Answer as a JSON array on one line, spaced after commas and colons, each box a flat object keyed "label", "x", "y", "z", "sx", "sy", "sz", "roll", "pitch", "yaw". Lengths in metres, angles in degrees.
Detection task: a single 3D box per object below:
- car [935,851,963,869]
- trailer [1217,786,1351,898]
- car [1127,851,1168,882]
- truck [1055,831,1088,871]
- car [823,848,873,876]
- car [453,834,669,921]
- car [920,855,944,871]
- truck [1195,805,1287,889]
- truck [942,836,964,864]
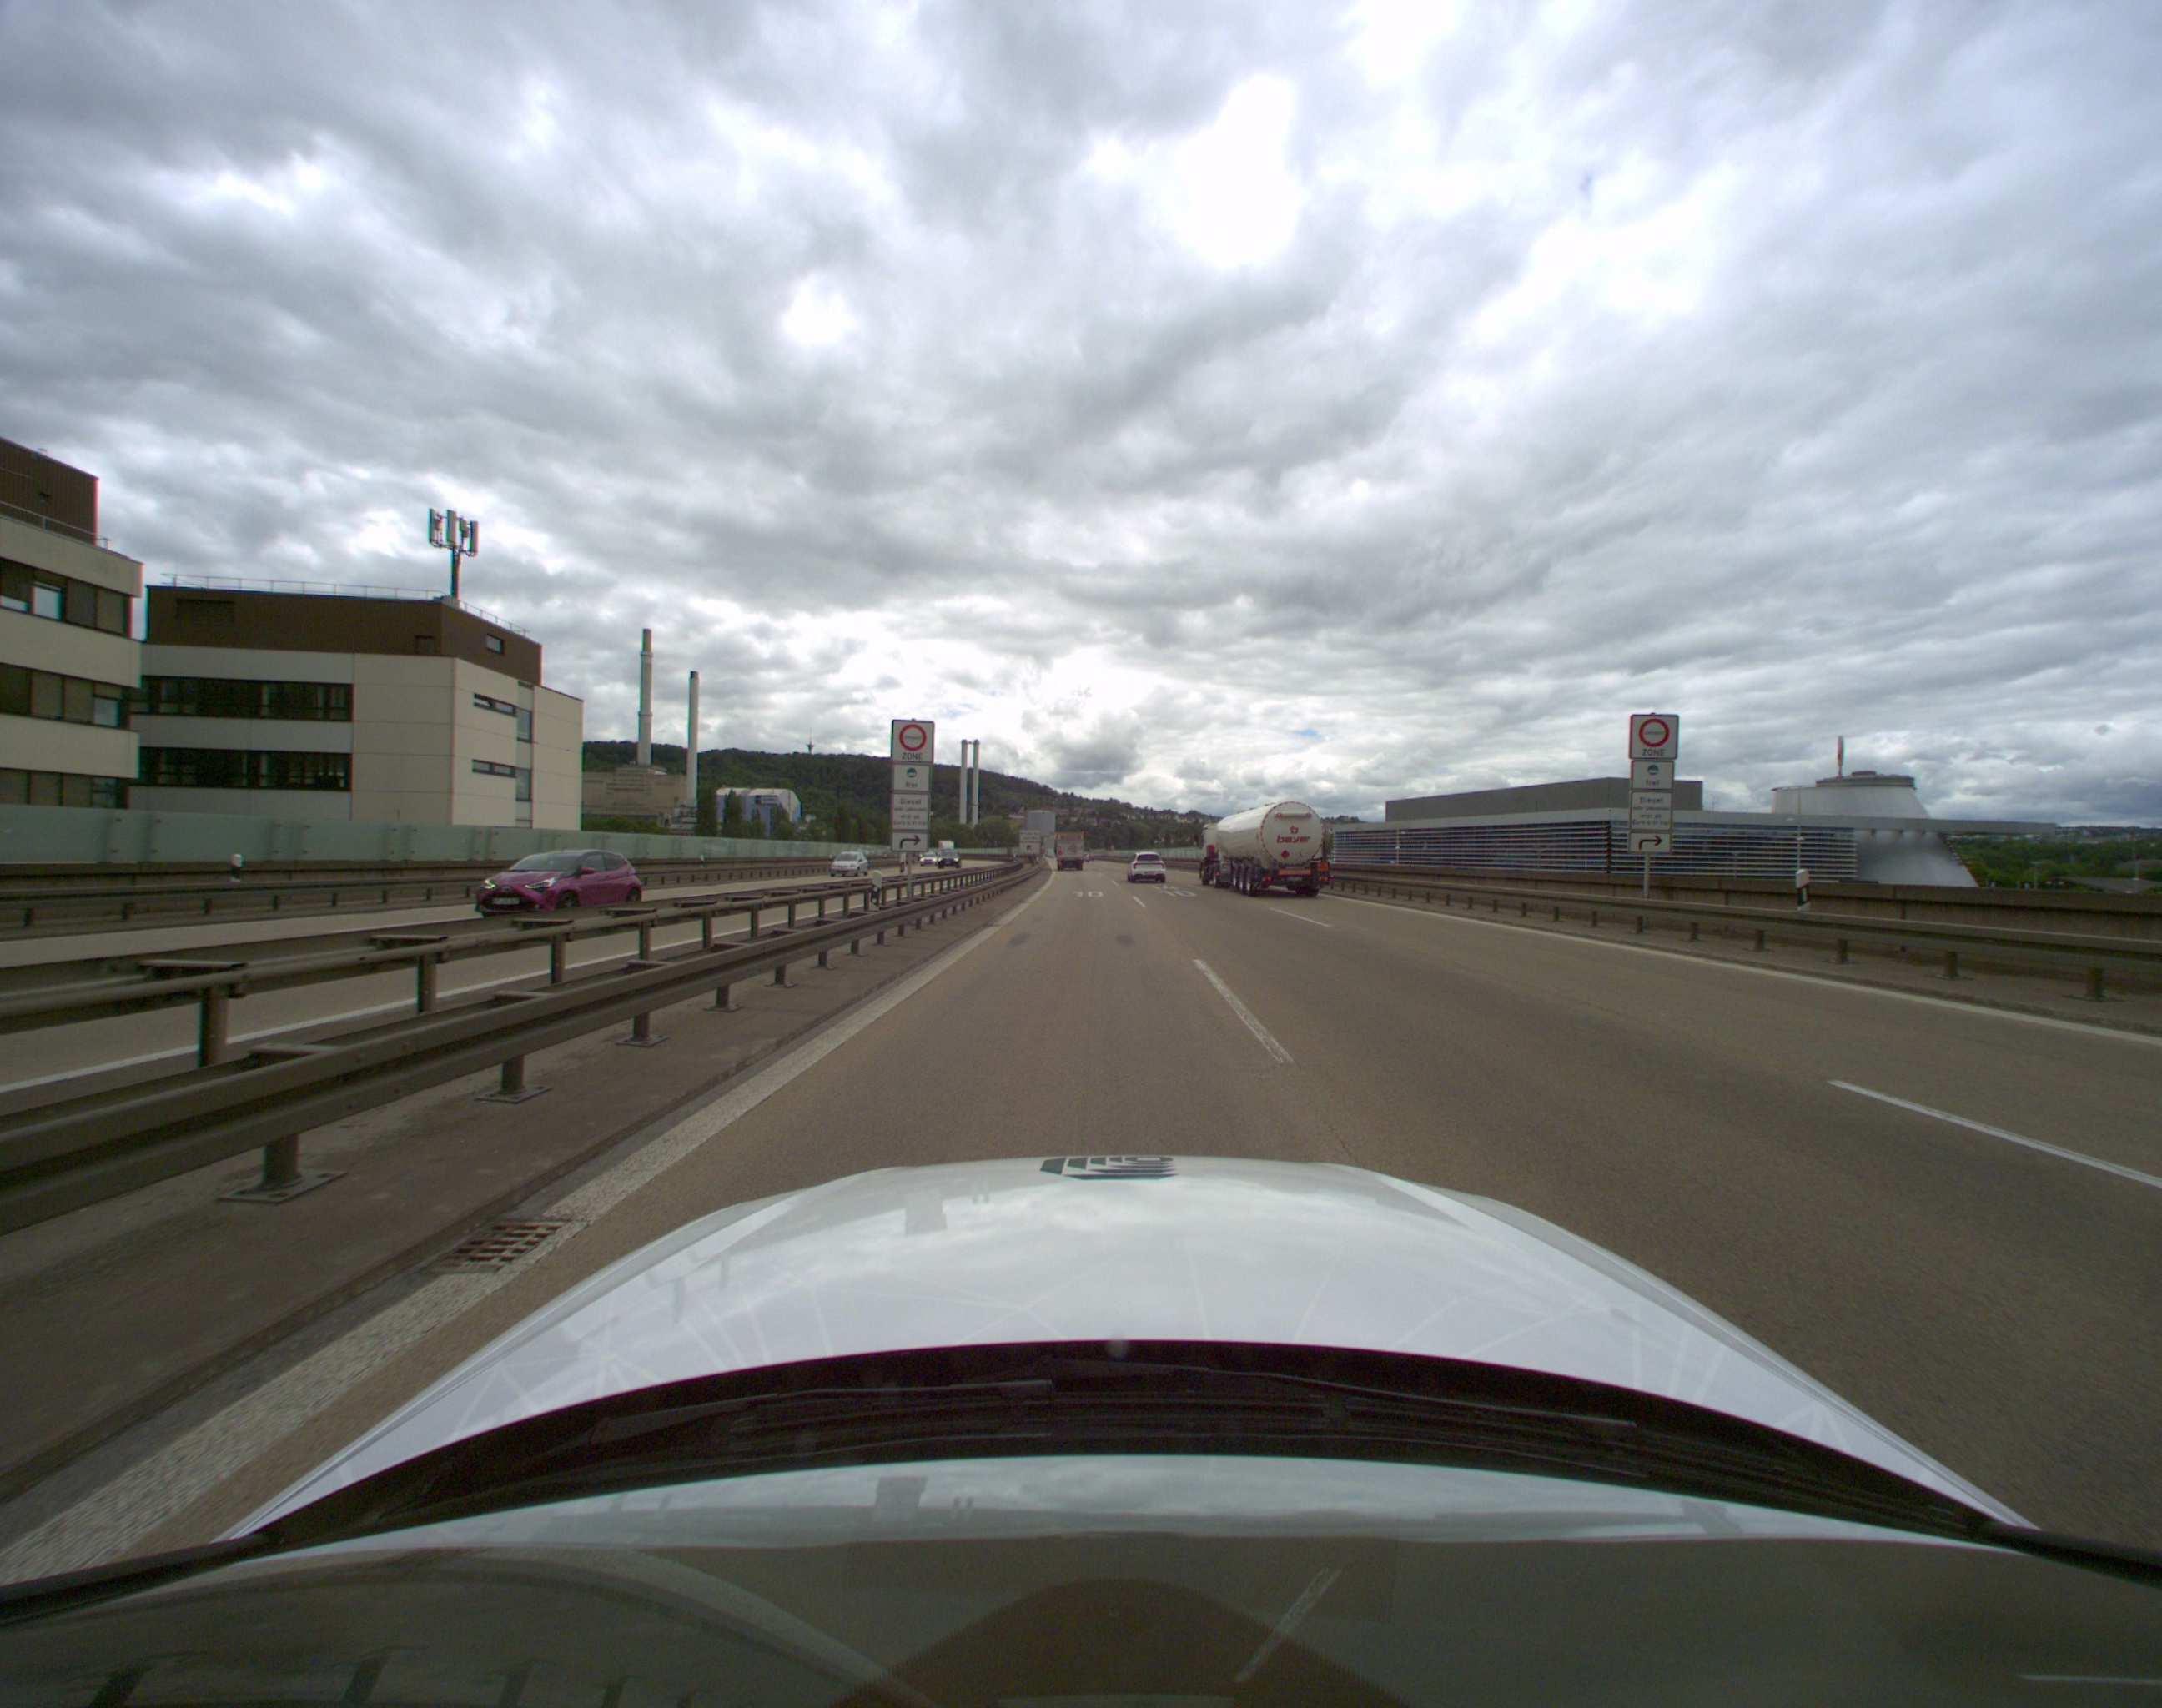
[{"label": "car", "x": -12.140, "y": 0.566, "z": 75.154, "sx": 1.989, "sy": 1.675, "sz": 4.403, "roll": 0, "pitch": -1, "yaw": -3}, {"label": "trailer", "x": 7.601, "y": -0.376, "z": 31.829, "sx": 3.048, "sy": 3.790, "sz": 8.300, "roll": 0, "pitch": -1, "yaw": -1}, {"label": "car", "x": 3.636, "y": 0.685, "z": 45.352, "sx": 1.986, "sy": 1.675, "sz": 4.408, "roll": 0, "pitch": -1, "yaw": 1}, {"label": "truck", "x": -0.958, "y": -0.253, "z": 78.992, "sx": 3.048, "sy": 3.691, "sz": 8.299, "roll": 0, "pitch": -1, "yaw": -1}, {"label": "car", "x": -14.568, "y": 0.513, "z": 51.188, "sx": 1.988, "sy": 1.675, "sz": 4.404, "roll": 0, "pitch": -1, "yaw": -2}, {"label": "car", "x": -11.108, "y": 0.474, "z": 17.863, "sx": 1.988, "sy": 1.675, "sz": 4.404, "roll": 0, "pitch": -1, "yaw": -2}, {"label": "car", "x": -16.680, "y": 1.005, "z": 91.273, "sx": 1.989, "sy": 1.675, "sz": 4.403, "roll": 0, "pitch": -1, "yaw": -3}, {"label": "truck", "x": 7.436, "y": -0.280, "z": 38.708, "sx": 3.006, "sy": 3.657, "sz": 6.269, "roll": 0, "pitch": -1, "yaw": -1}, {"label": "truck", "x": -21.509, "y": -0.606, "z": 137.601, "sx": 3.052, "sy": 4.562, "sz": 8.289, "roll": 0, "pitch": -1, "yaw": -5}]
